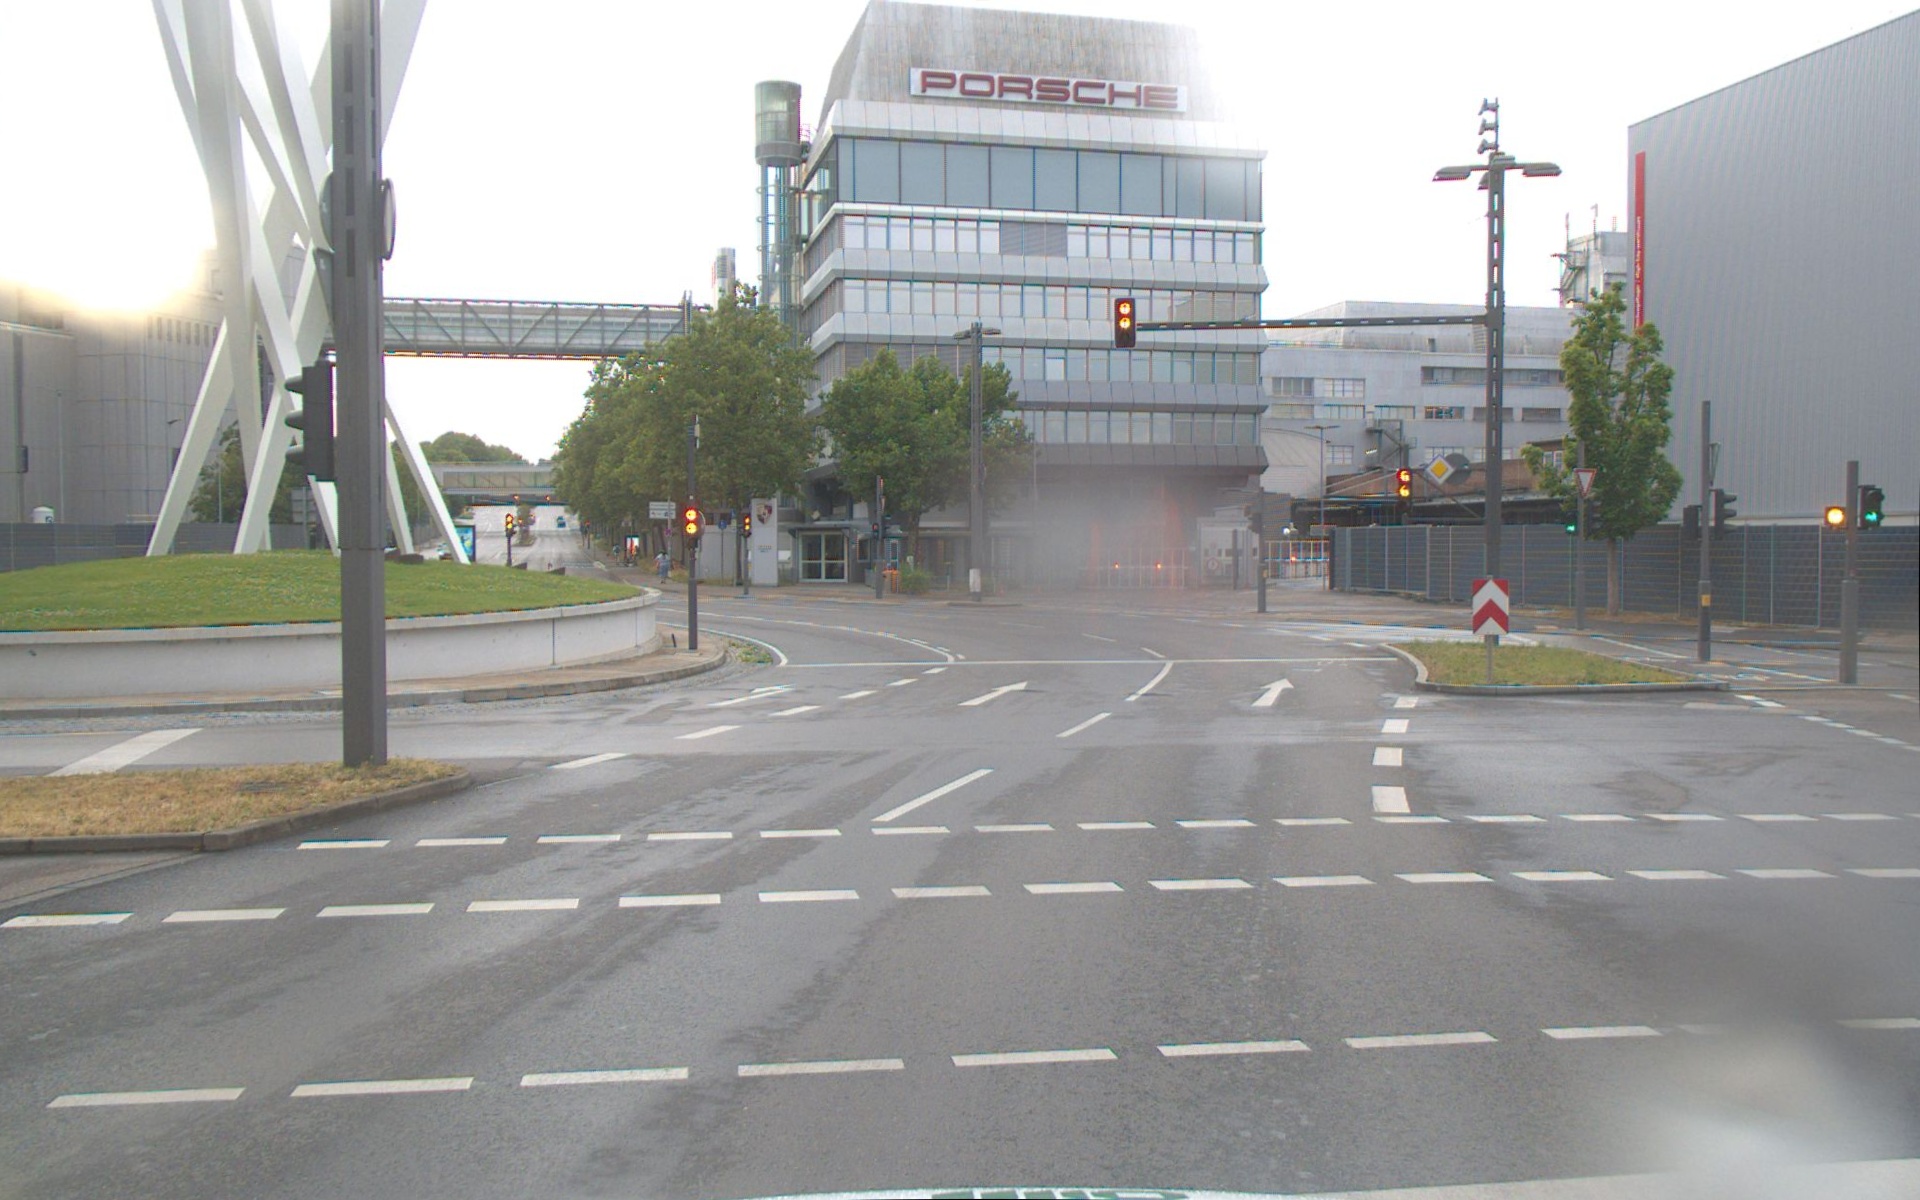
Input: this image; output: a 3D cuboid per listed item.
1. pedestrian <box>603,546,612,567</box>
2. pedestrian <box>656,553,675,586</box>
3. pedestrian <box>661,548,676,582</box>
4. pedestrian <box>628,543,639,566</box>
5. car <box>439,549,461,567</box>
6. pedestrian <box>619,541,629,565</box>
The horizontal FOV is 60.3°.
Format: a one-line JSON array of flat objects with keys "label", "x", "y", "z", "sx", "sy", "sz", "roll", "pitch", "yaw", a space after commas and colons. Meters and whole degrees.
[{"label": "pedestrian", "x": -35.223, "y": -4.325, "z": 165.303, "sx": 0.749, "sy": 2.049, "sz": 0.693, "roll": 0, "pitch": 1, "yaw": 3}, {"label": "pedestrian", "x": -14.180, "y": -1.471, "z": 79.655, "sx": 0.815, "sy": 1.547, "sz": 0.841, "roll": -1, "pitch": 2, "yaw": -6}, {"label": "pedestrian", "x": -14.312, "y": -1.711, "z": 81.166, "sx": 0.696, "sy": 1.619, "sz": 0.839, "roll": -1, "pitch": 2, "yaw": -10}, {"label": "pedestrian", "x": -25.640, "y": -3.594, "z": 129.870, "sx": 0.744, "sy": 1.770, "sz": 0.712, "roll": 1, "pitch": -1, "yaw": -10}, {"label": "car", "x": -45.634, "y": -3.759, "z": 147.962, "sx": 1.756, "sy": 1.465, "sz": 4.372, "roll": -1, "pitch": 3, "yaw": -19}, {"label": "pedestrian", "x": -25.963, "y": -3.618, "z": 127.866, "sx": 0.699, "sy": 1.770, "sz": 0.757, "roll": 1, "pitch": -1, "yaw": -14}]
